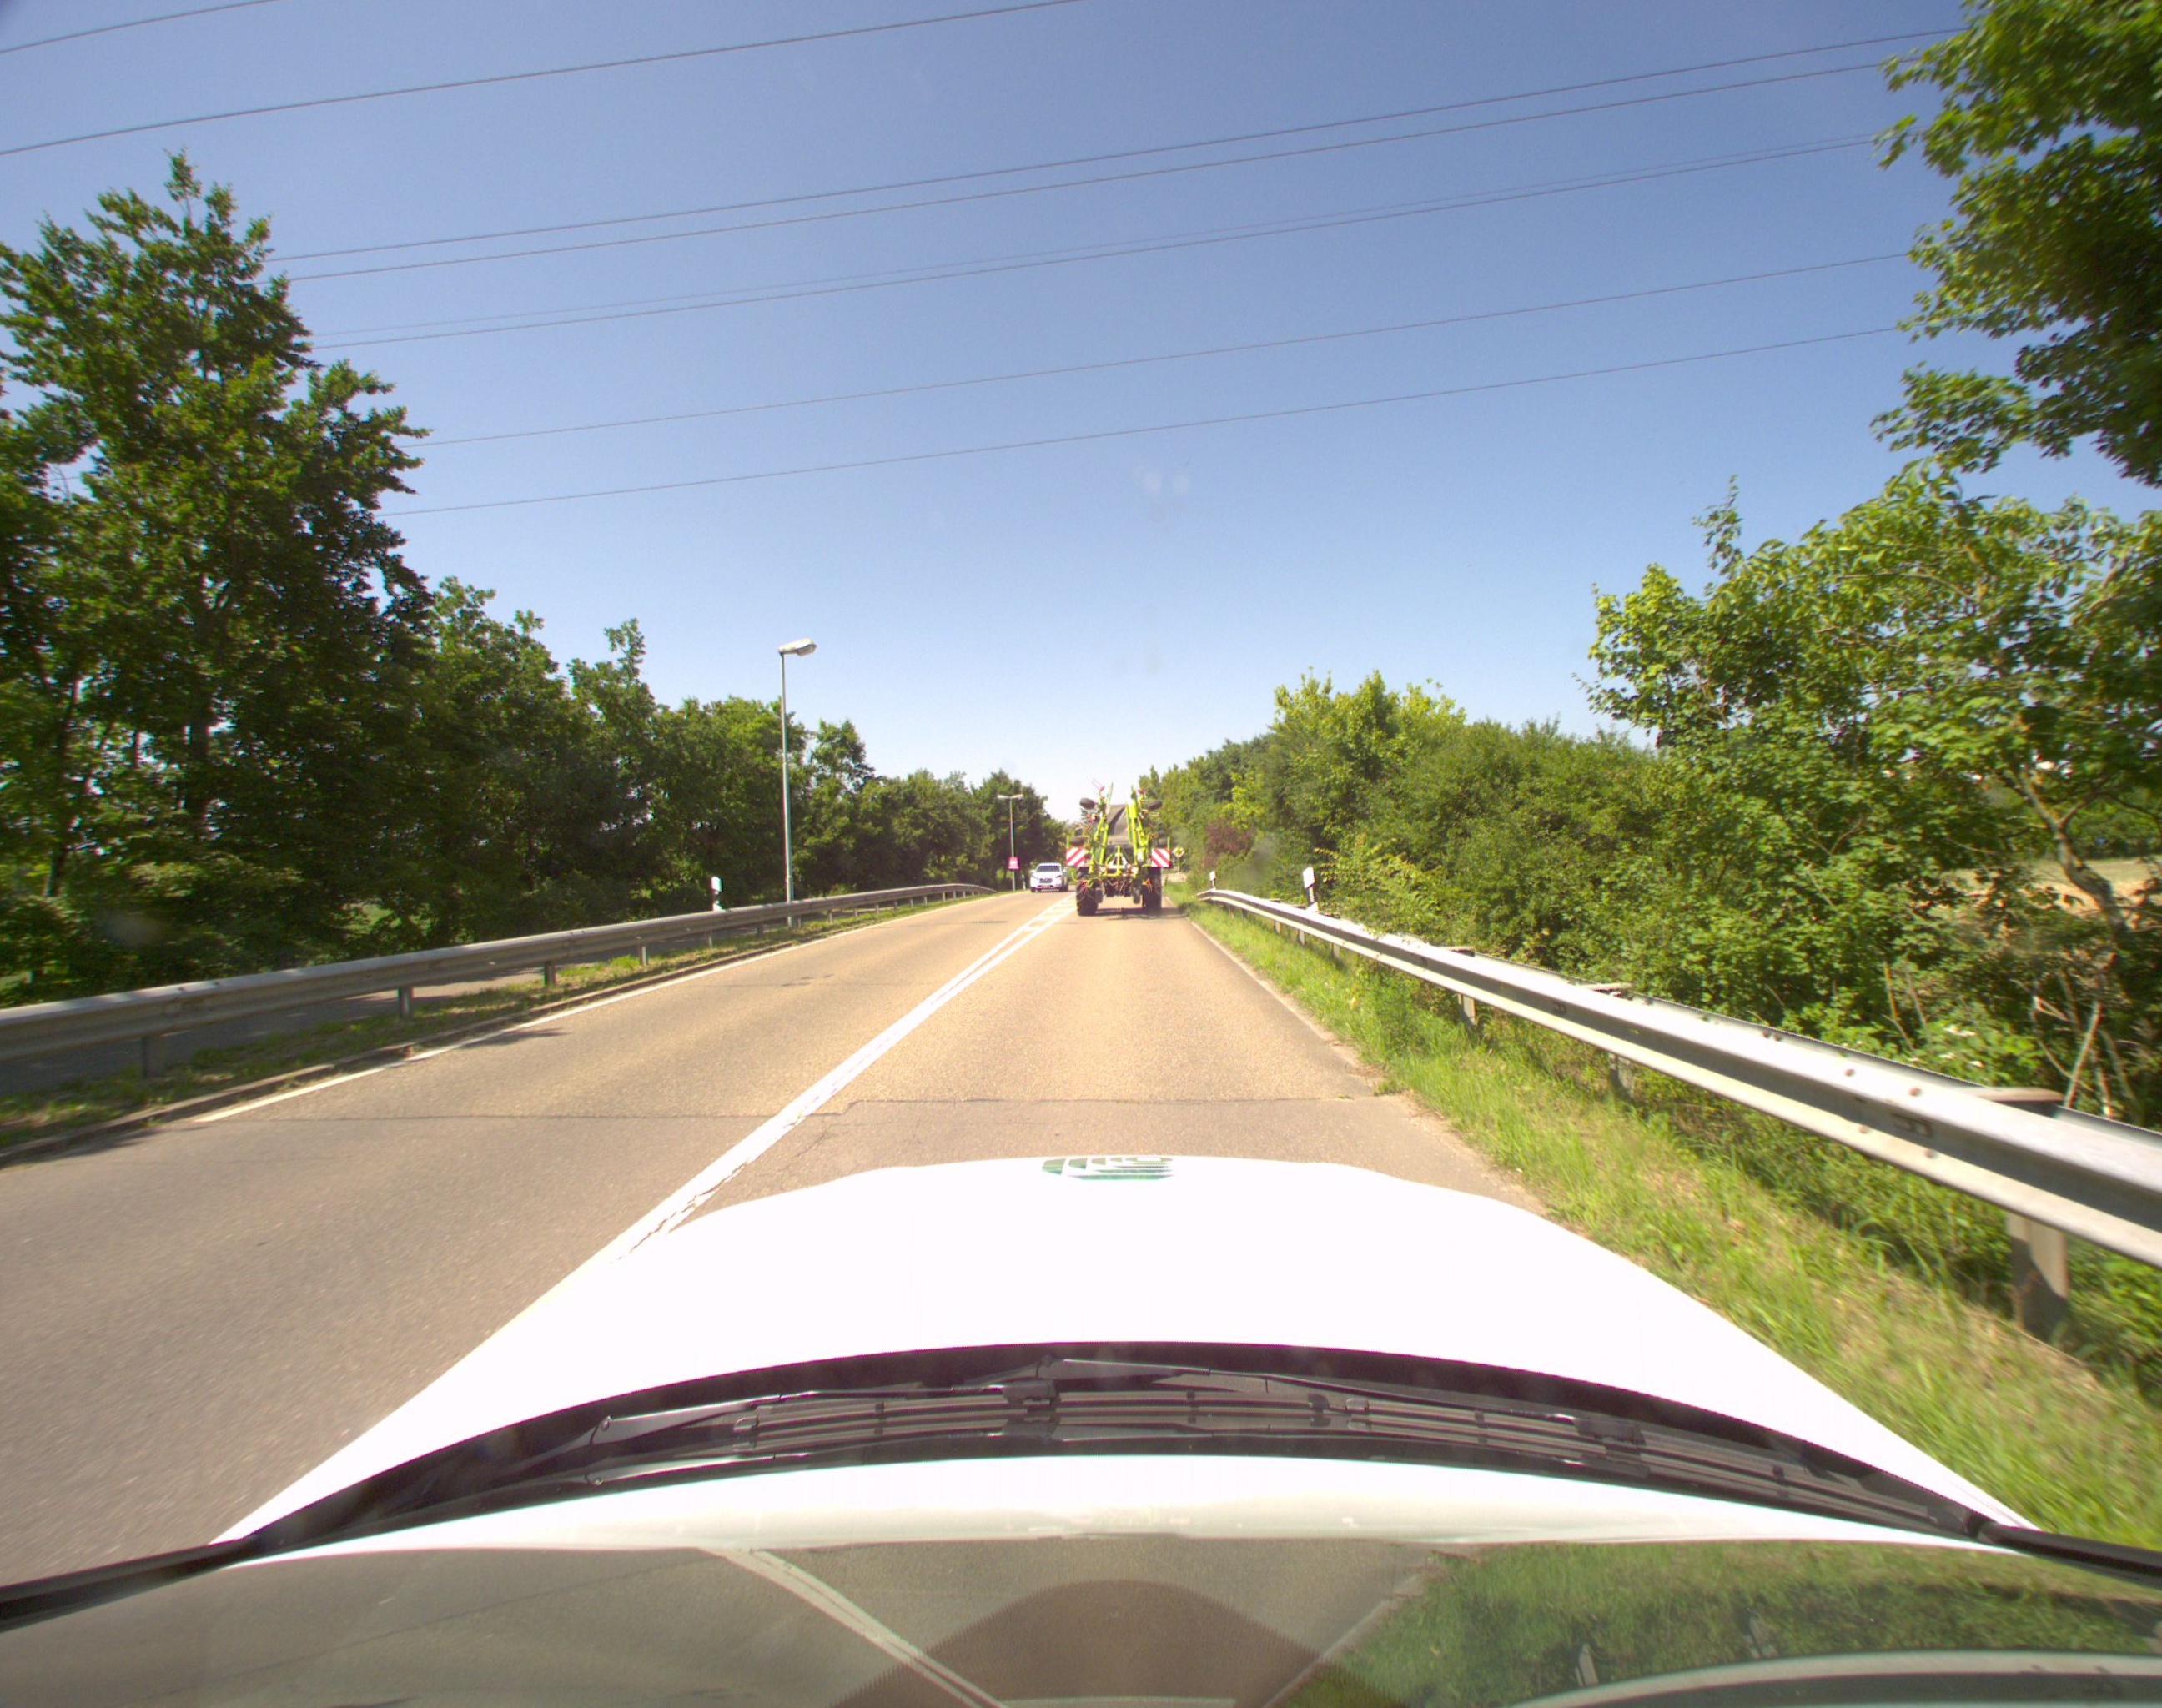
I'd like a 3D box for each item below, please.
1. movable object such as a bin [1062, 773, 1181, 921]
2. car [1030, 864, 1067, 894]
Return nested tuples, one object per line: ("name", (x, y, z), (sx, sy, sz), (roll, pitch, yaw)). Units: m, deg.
("movable object such as a bin", (1.126, -0.098, 24.476), (2.842, 3.542, 9.704), (0, -1, 2))
("car", (-1.827, 1.417, 47.380), (1.817, 1.640, 4.143), (0, -1, 2))
